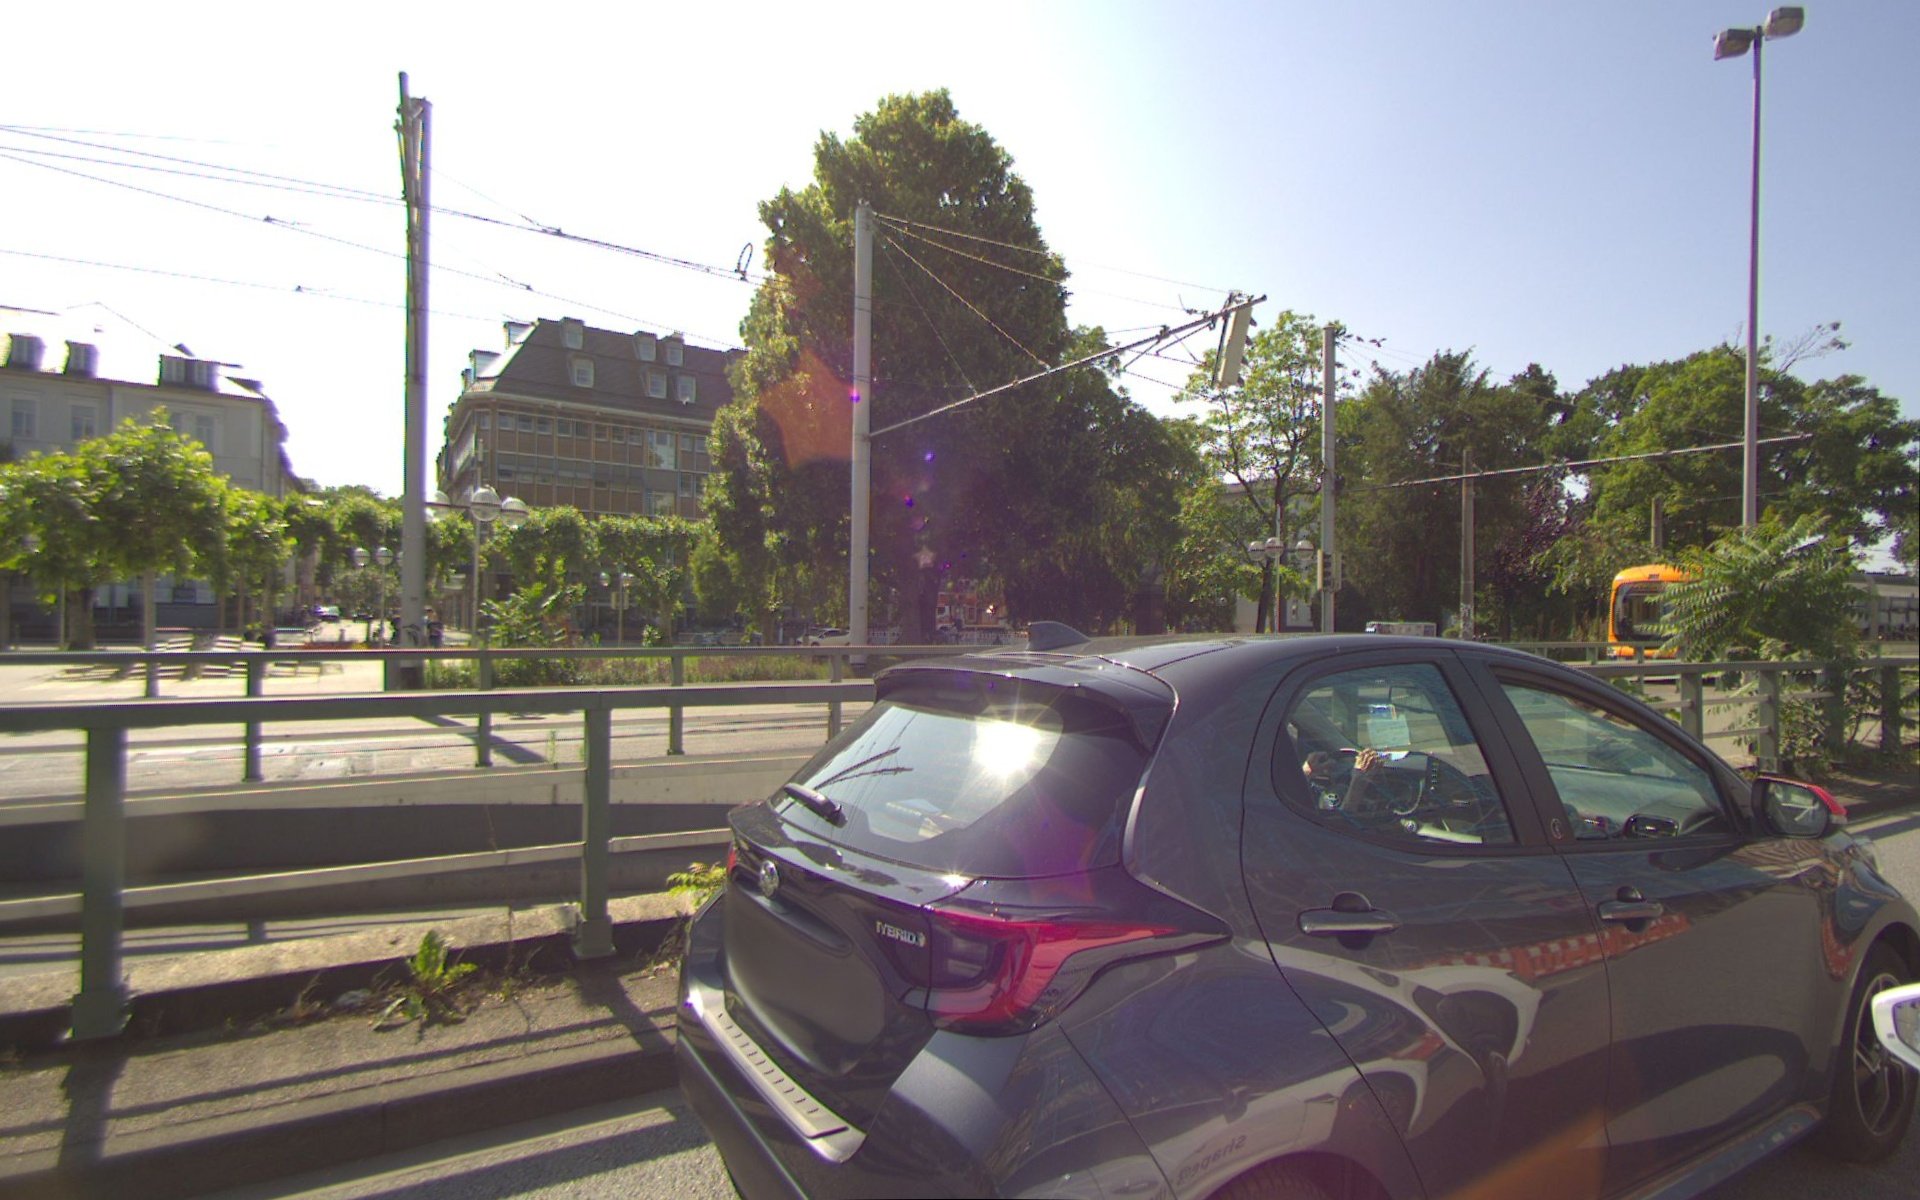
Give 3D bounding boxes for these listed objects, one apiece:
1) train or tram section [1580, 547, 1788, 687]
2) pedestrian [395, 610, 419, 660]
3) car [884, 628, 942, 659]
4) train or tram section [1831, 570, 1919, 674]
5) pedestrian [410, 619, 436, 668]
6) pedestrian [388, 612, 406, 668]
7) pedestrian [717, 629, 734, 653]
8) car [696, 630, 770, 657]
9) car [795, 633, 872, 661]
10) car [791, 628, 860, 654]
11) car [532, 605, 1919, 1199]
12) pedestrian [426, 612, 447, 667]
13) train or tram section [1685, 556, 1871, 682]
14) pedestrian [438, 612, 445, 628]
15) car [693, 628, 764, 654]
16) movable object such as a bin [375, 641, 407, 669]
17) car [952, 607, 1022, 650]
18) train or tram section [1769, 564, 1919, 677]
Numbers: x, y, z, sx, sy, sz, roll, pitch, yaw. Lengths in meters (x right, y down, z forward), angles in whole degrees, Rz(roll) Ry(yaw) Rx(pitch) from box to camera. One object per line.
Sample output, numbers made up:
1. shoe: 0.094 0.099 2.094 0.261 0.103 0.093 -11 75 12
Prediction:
1. train or tram section: 20.673 0.478 28.631 6.033 3.629 2.600 1 0 -31
2. pedestrian: -18.056 1.146 32.801 0.616 1.630 0.488 1 -4 -40
3. car: -3.371 3.108 71.893 3.602 2.040 1.983 1 0 -31
4. train or tram section: 35.830 0.824 37.788 6.819 3.629 2.600 1 0 -31
5. pedestrian: -17.075 1.379 31.938 0.656 1.512 0.521 1 -4 -38
6. pedestrian: -16.514 1.183 29.469 0.460 1.630 0.449 0 -3 -30
7. pedestrian: -13.147 2.290 56.279 0.655 1.279 0.744 1 -4 -42
8. car: -13.626 2.596 60.286 3.962 1.528 1.743 1 0 -37
9. car: -8.406 3.100 66.967 4.798 1.685 1.743 1 0 -37
10. car: -8.564 2.597 64.087 3.962 1.528 1.743 1 0 -37
11. car: 1.036 0.827 2.784 3.951 1.494 1.770 1 -3 -29
12. pedestrian: -15.715 1.176 30.135 0.491 1.630 0.410 1 -4 -40
13. train or tram section: 25.838 0.585 31.683 6.033 3.629 2.600 1 0 -31
14. pedestrian: -43.068 1.664 83.405 0.471 1.279 0.513 0 -3 -35
15. car: -14.419 2.537 62.755 3.962 1.528 1.743 1 0 -37
16. movable object such as a bin: -16.116 1.553 28.458 0.790 0.764 0.903 0 -3 -30
17. car: 2.236 2.279 81.661 5.358 3.360 2.115 1 0 -31
18. train or tram section: 30.666 0.700 34.654 5.295 3.629 2.600 1 0 -31
